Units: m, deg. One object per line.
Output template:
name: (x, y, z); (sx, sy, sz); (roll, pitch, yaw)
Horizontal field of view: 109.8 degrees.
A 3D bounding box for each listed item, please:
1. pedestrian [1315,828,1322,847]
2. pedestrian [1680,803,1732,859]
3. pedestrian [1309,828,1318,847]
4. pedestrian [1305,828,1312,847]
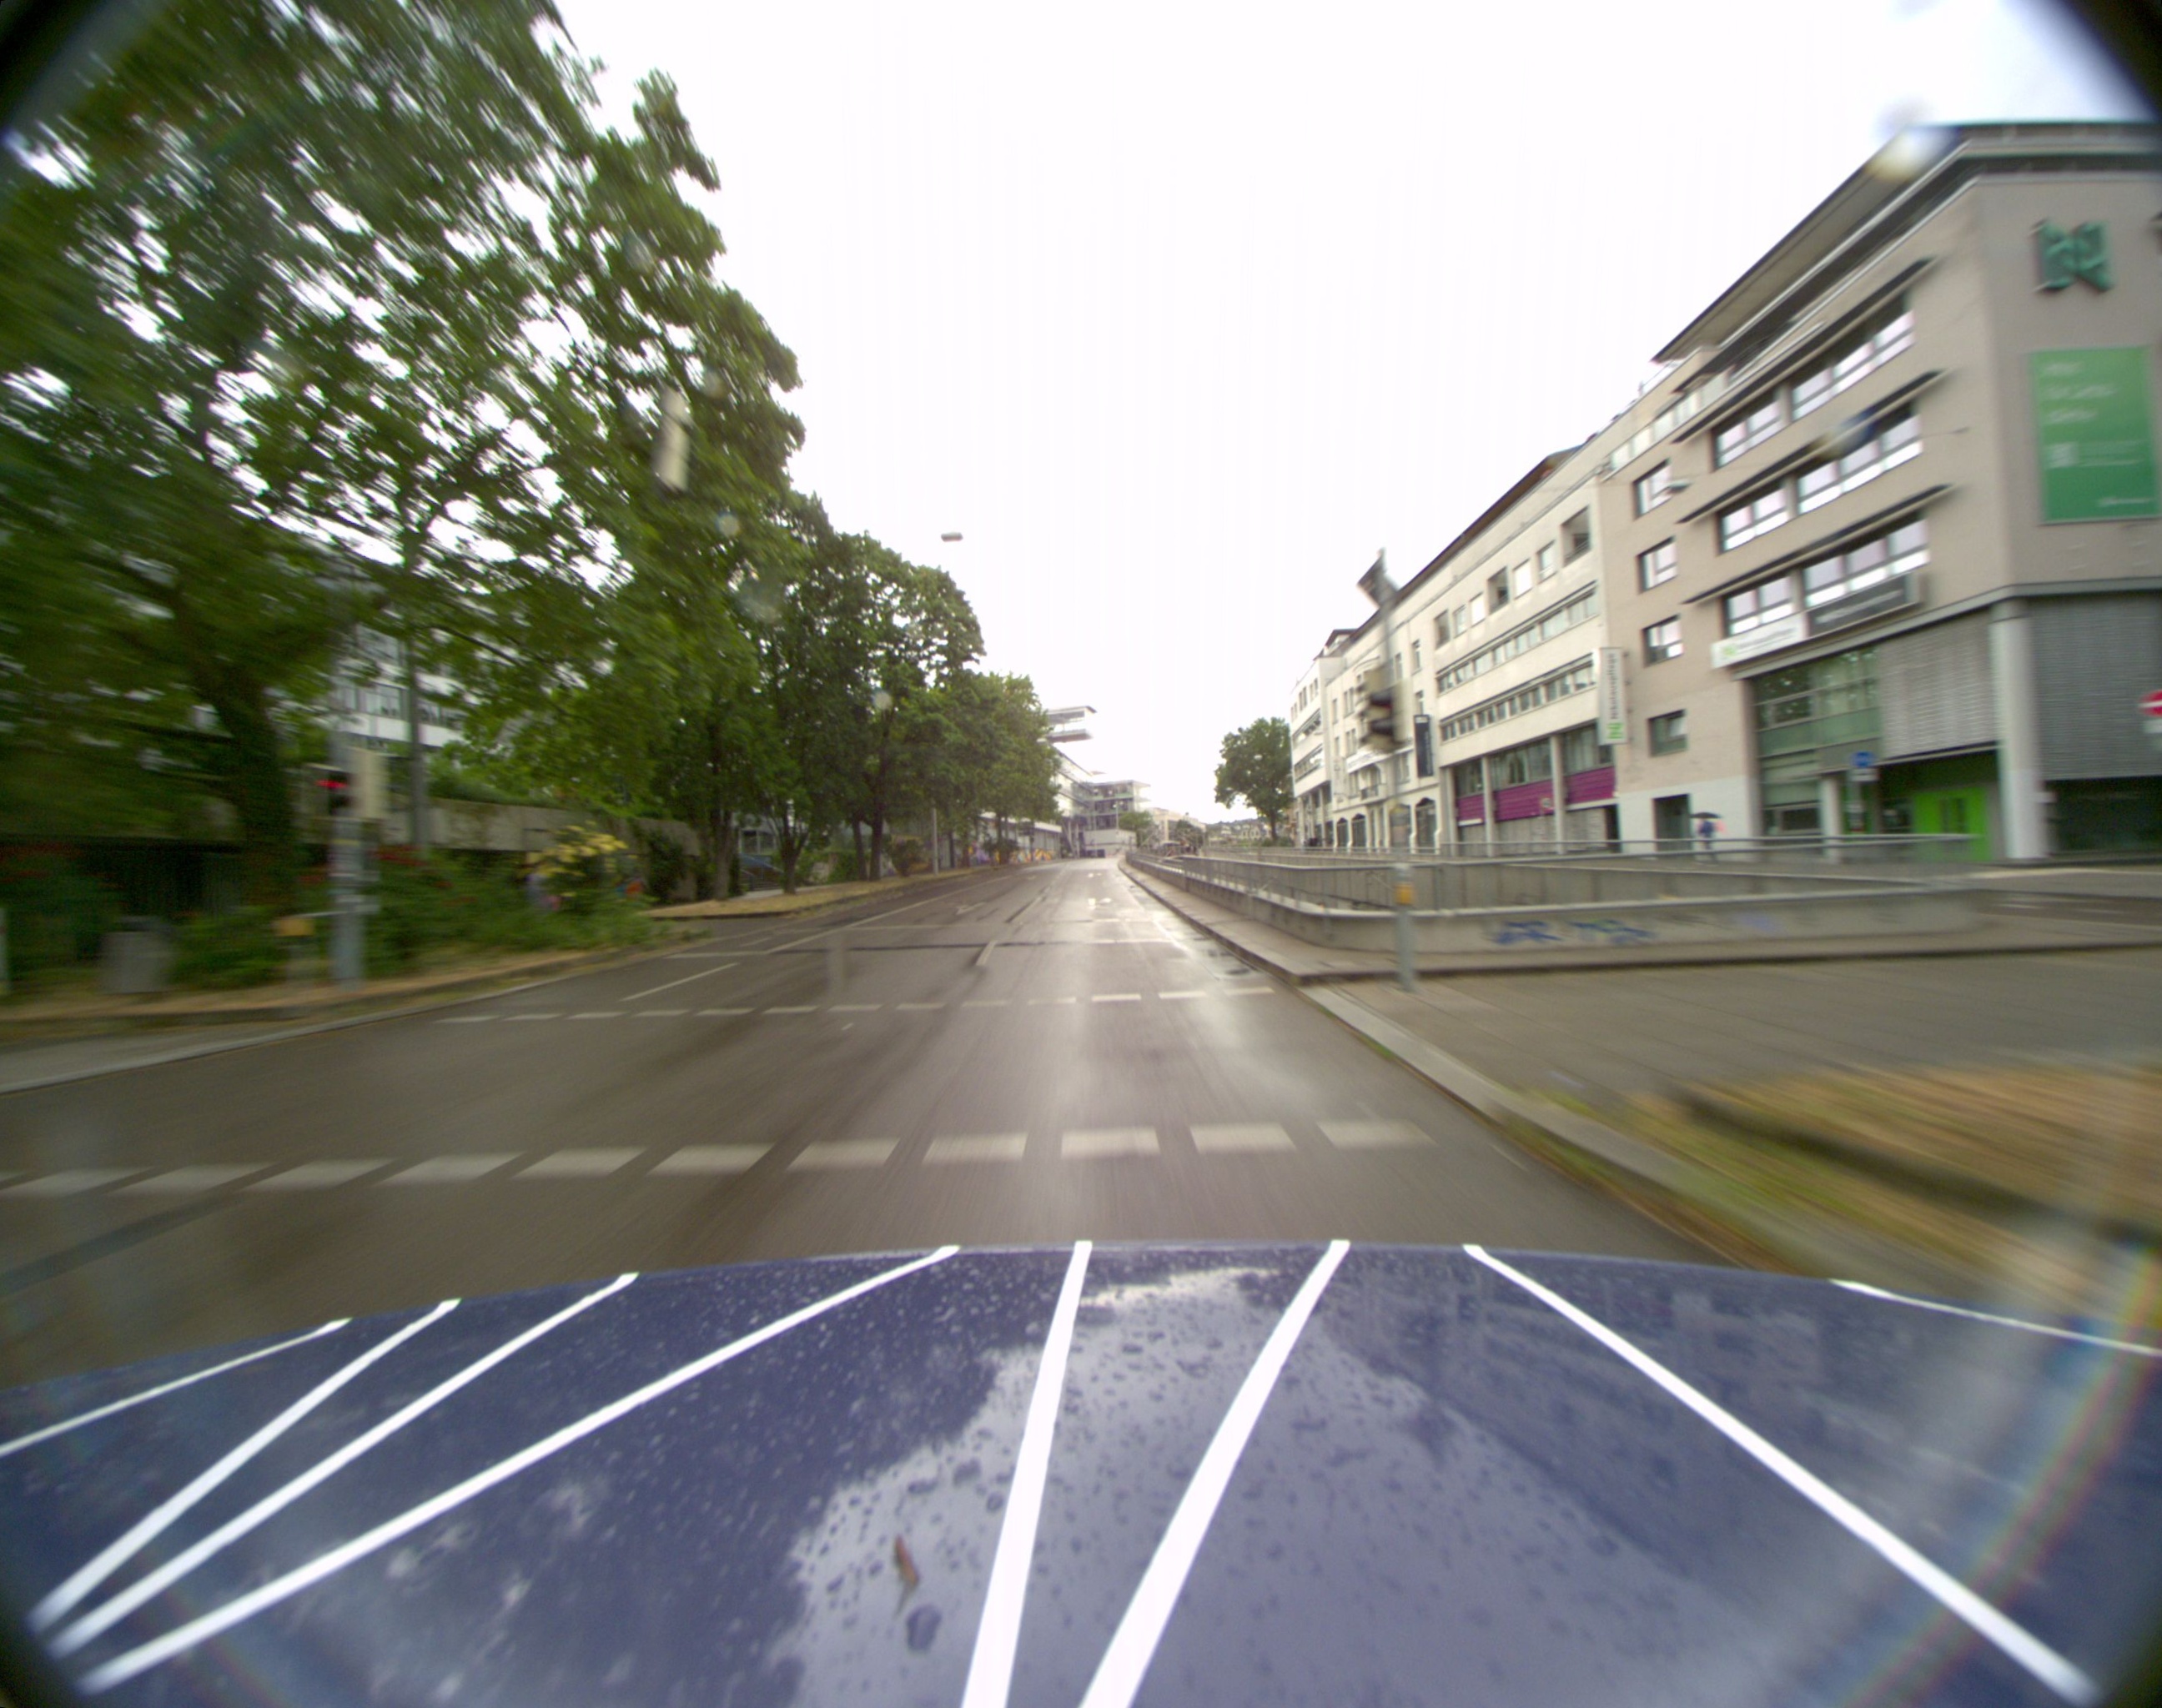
pedestrian: (22.766, -1.552, 72.811); (0.470, 1.792, 0.547); (-4, 1, 3)
pedestrian: (21.435, -0.787, 26.082); (0.859, 1.827, 1.059); (-4, 1, 1)
pedestrian: (22.667, -1.602, 74.071); (0.547, 1.792, 0.470); (-4, 1, -7)
pedestrian: (22.091, -1.609, 73.871); (0.469, 1.792, 0.547); (-4, 1, 8)
